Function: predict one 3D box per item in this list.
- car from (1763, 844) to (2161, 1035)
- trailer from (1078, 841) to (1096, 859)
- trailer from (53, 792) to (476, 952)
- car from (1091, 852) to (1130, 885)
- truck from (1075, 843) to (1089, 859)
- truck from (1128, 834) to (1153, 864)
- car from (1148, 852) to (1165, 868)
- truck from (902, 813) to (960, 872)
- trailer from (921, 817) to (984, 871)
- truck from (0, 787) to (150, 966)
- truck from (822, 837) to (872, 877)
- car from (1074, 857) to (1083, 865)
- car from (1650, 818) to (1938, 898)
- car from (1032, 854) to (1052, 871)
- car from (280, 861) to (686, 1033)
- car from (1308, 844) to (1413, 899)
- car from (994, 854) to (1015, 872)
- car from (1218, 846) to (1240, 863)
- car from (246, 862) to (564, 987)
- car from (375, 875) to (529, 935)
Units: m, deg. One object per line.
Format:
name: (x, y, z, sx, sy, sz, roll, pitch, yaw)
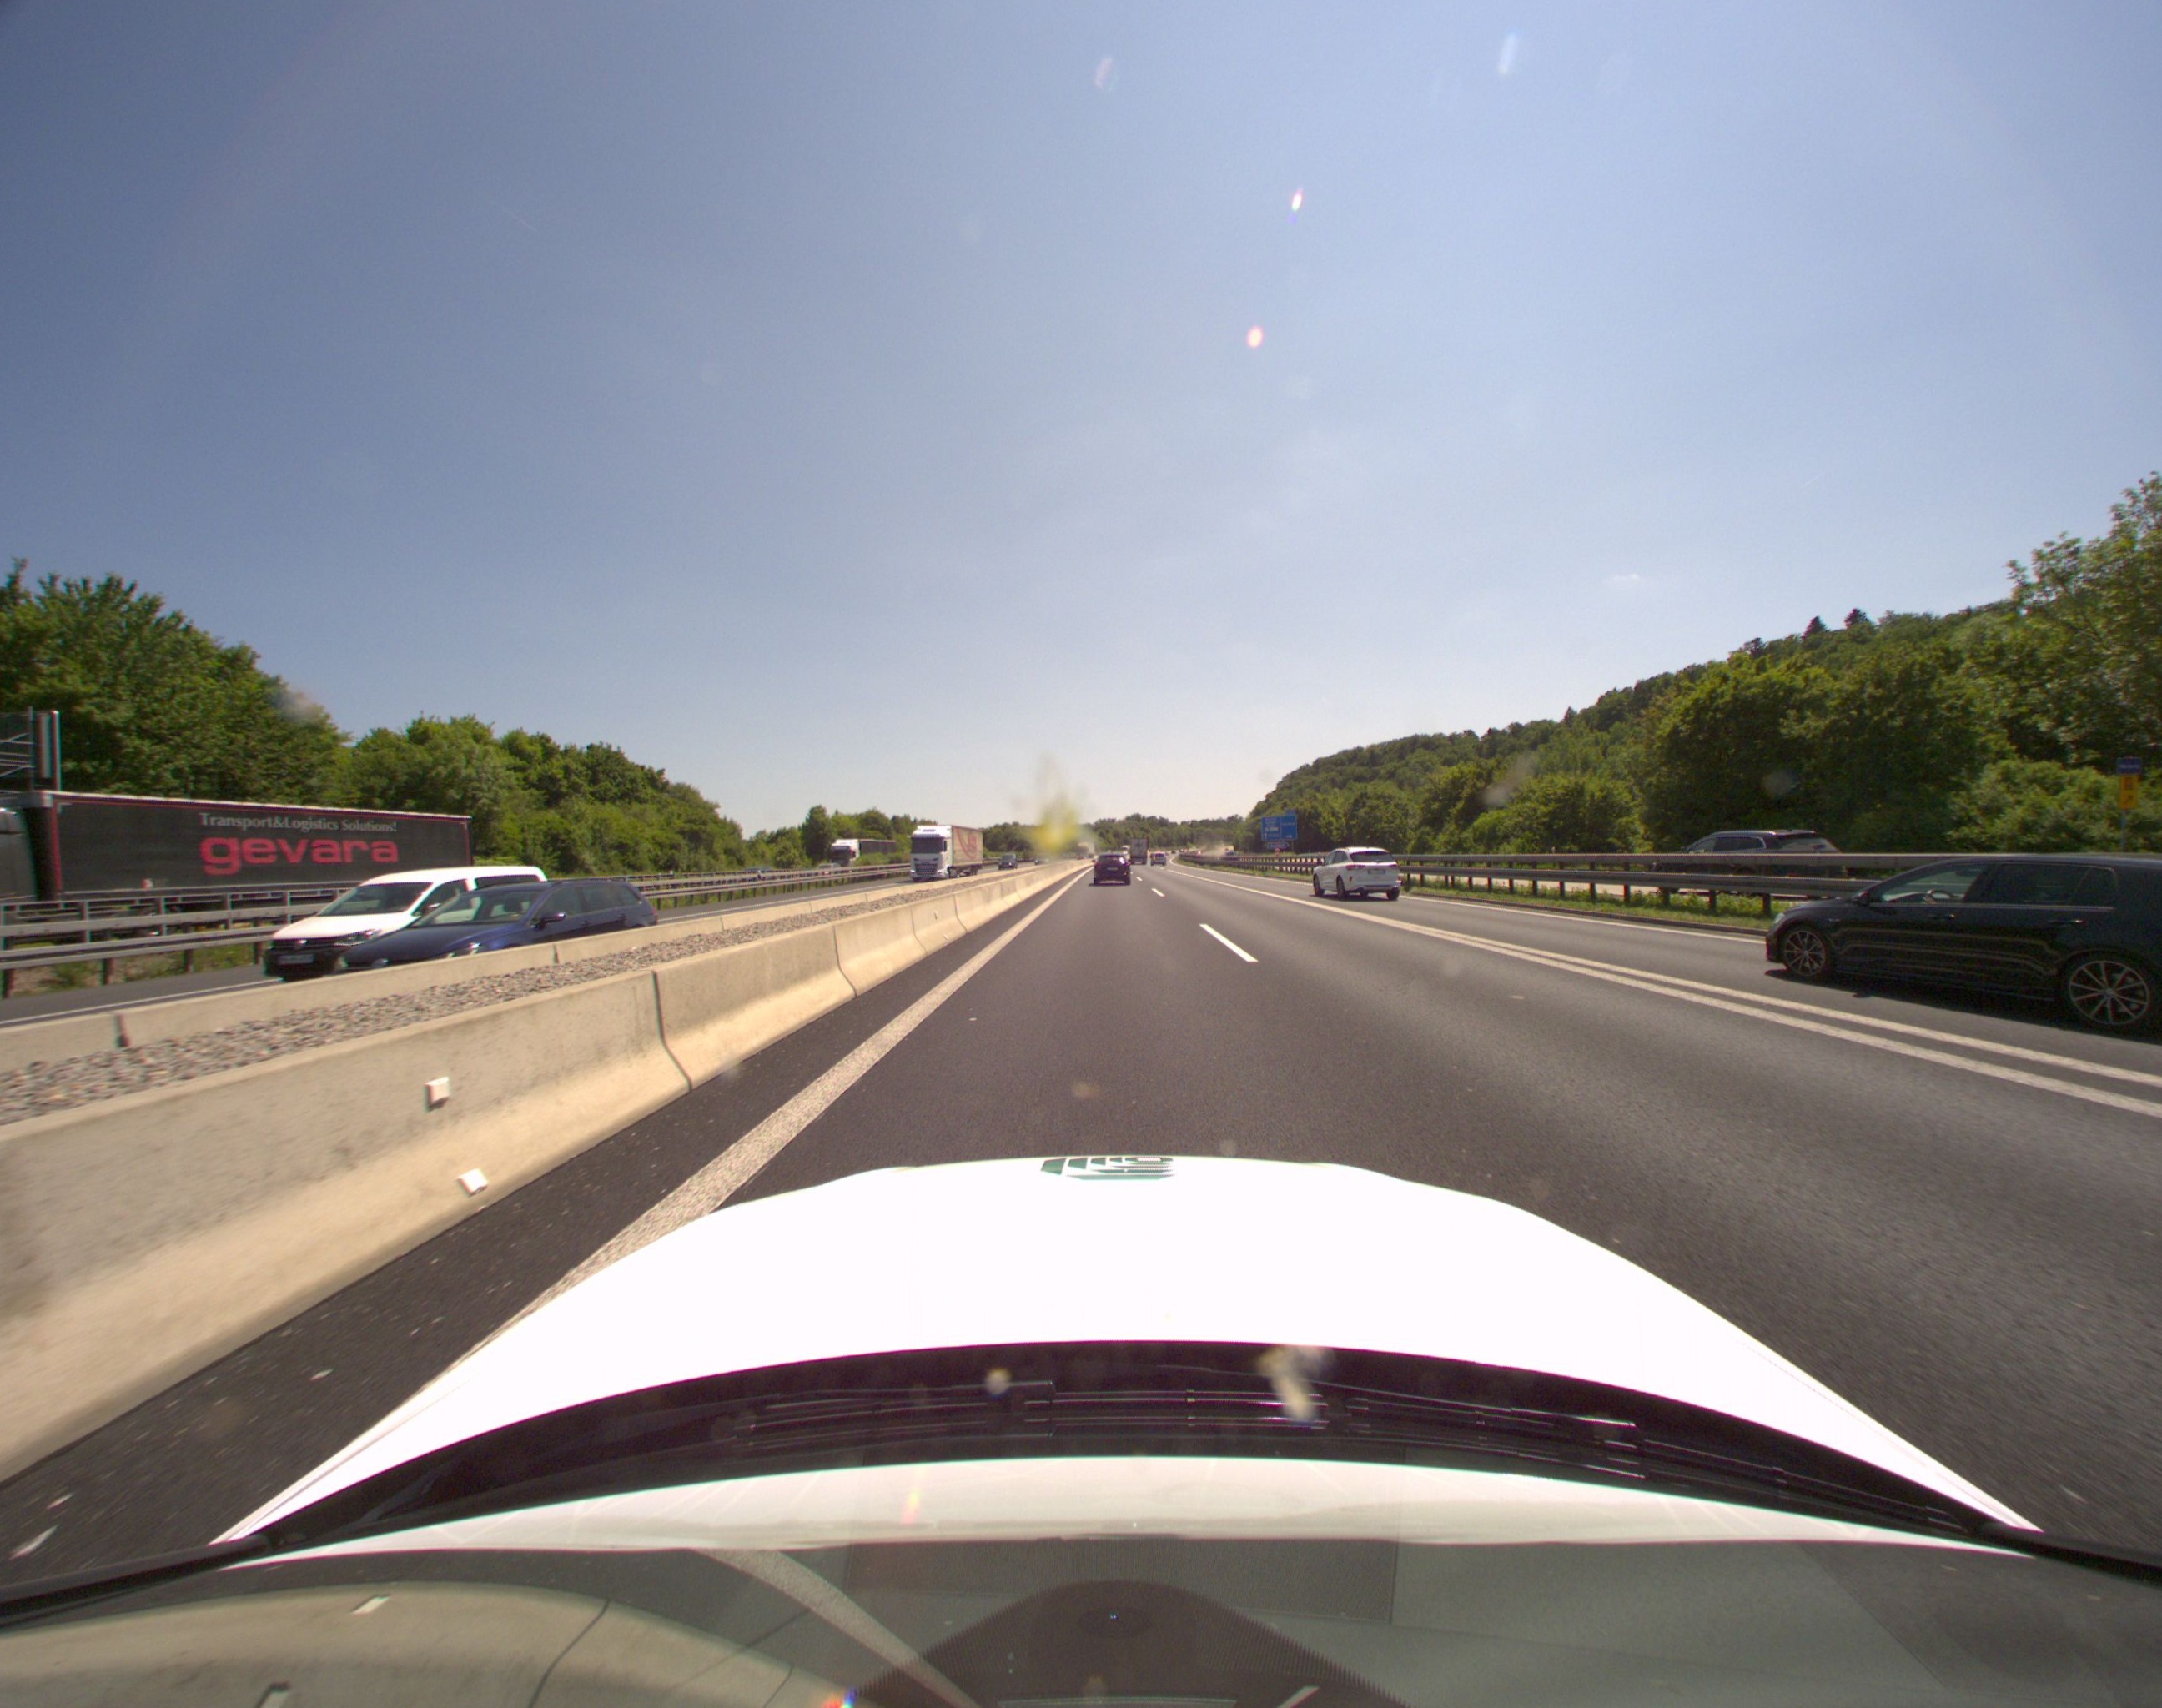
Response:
car: (8.979, 0.646, 7.656, 1.789, 1.435, 3.964, 0, 0, -1)
trailer: (1.551, -0.970, 209.706, 2.702, 4.312, 12.854, -1, 0, 8)
trailer: (-26.971, 0.526, 28.420, 2.784, 4.433, 11.657, 0, 0, 2)
car: (1.421, 0.691, 40.759, 1.774, 1.577, 3.998, 0, 0, -1)
truck: (0.307, -0.735, 200.934, 2.734, 3.754, 4.877, -1, 0, 8)
truck: (9.315, -0.736, 126.266, 3.015, 4.418, 12.043, -1, 0, 7)
car: (10.306, 0.862, 110.875, 1.985, 2.013, 4.003, -4, 0, 3)
truck: (-10.716, -0.768, 58.854, 2.917, 3.973, 5.900, 0, 0, 2)
trailer: (-10.407, -0.722, 67.358, 2.899, 4.045, 12.069, 0, 0, 2)
truck: (-27.185, 0.553, 19.997, 2.800, 4.272, 5.000, 0, 0, 1)
truck: (-24.865, 0.313, 87.032, 3.207, 4.045, 6.642, 0, 0, 2)
car: (-0.541, 1.447, 168.947, 1.723, 1.536, 4.612, 0, 0, 0)
car: (16.957, 0.099, 19.935, 1.989, 1.662, 5.621, 0, 0, -2)
car: (-4.805, 1.048, 100.947, 2.043, 2.014, 4.956, 0, 0, 1)
car: (-7.609, 1.022, 11.191, 1.977, 1.826, 4.826, 0, 0, 0)
car: (9.079, 0.539, 26.900, 1.987, 1.662, 4.468, 0, 0, 1)
car: (-8.736, 0.996, 93.581, 1.987, 2.014, 4.484, 0, 0, 0)
car: (18.837, 0.098, 103.583, 1.987, 2.013, 3.999, -2, 0, 0)
car: (-11.686, 1.077, 14.662, 1.737, 1.826, 4.900, 0, 0, -2)
car: (-22.989, 1.798, 30.041, 1.986, 1.857, 4.540, -2, 0, 2)
